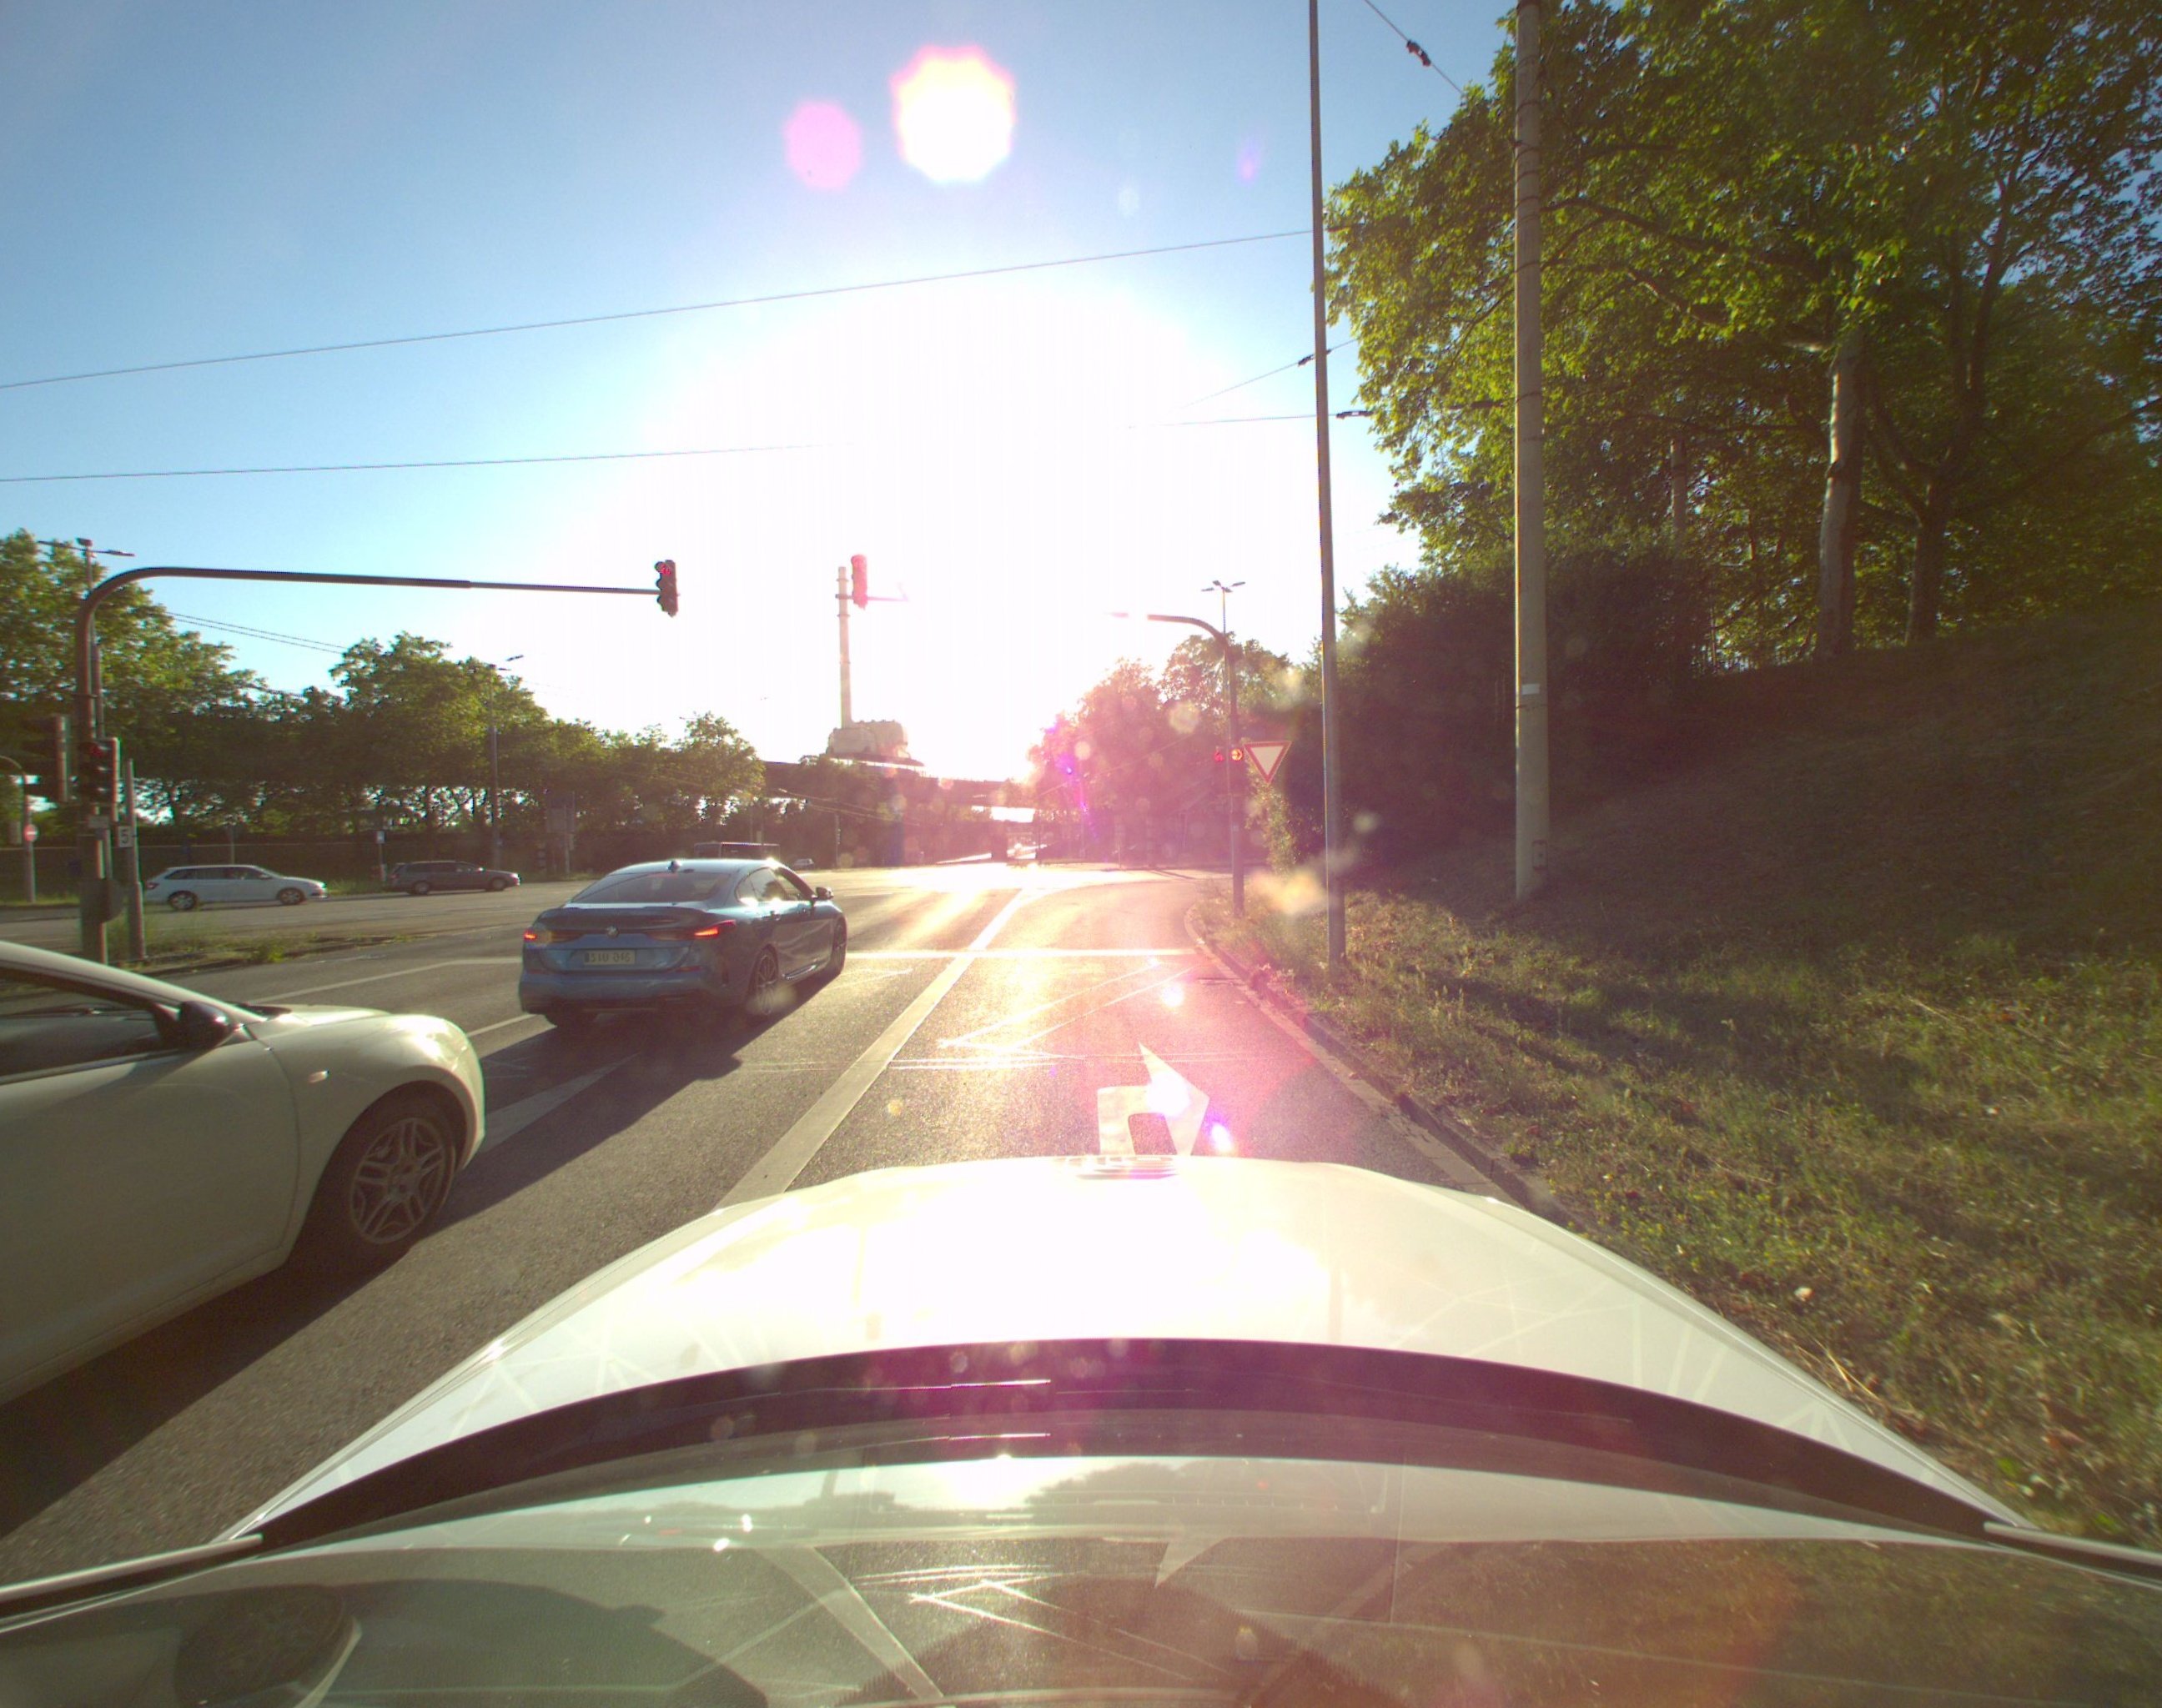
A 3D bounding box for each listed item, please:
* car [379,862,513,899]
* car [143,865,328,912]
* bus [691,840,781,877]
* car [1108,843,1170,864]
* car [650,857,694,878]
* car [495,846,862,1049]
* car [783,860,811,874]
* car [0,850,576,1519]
[{"bbox_3d":[-27.943,1.128,35.926,1.650,1.405,4.471,0,1,44],"label":"car"},{"bbox_3d":[-28.911,1.126,28.053,4.217,1.405,1.651,-1,1,-39],"label":"car"},{"bbox_3d":[-32.198,0.444,76.885,2.534,3.130,12.923,-2,-1,2],"label":"bus"},{"bbox_3d":[4.605,-0.076,64.705,4.588,1.574,1.683,-1,0,-18],"label":"car"},{"bbox_3d":[-32.544,1.061,64.969,1.603,1.512,4.005,-1,0,-2],"label":"car"},{"bbox_3d":[-3.622,0.688,8.312,1.709,1.465,4.204,-2,1,-2],"label":"car"},{"bbox_3d":[-31.687,1.394,90.837,1.601,1.419,4.009,-1,0,1],"label":"car"},{"bbox_3d":[-3.354,0.787,2.028,1.732,1.505,3.997,-2,1,-2],"label":"car"}]
